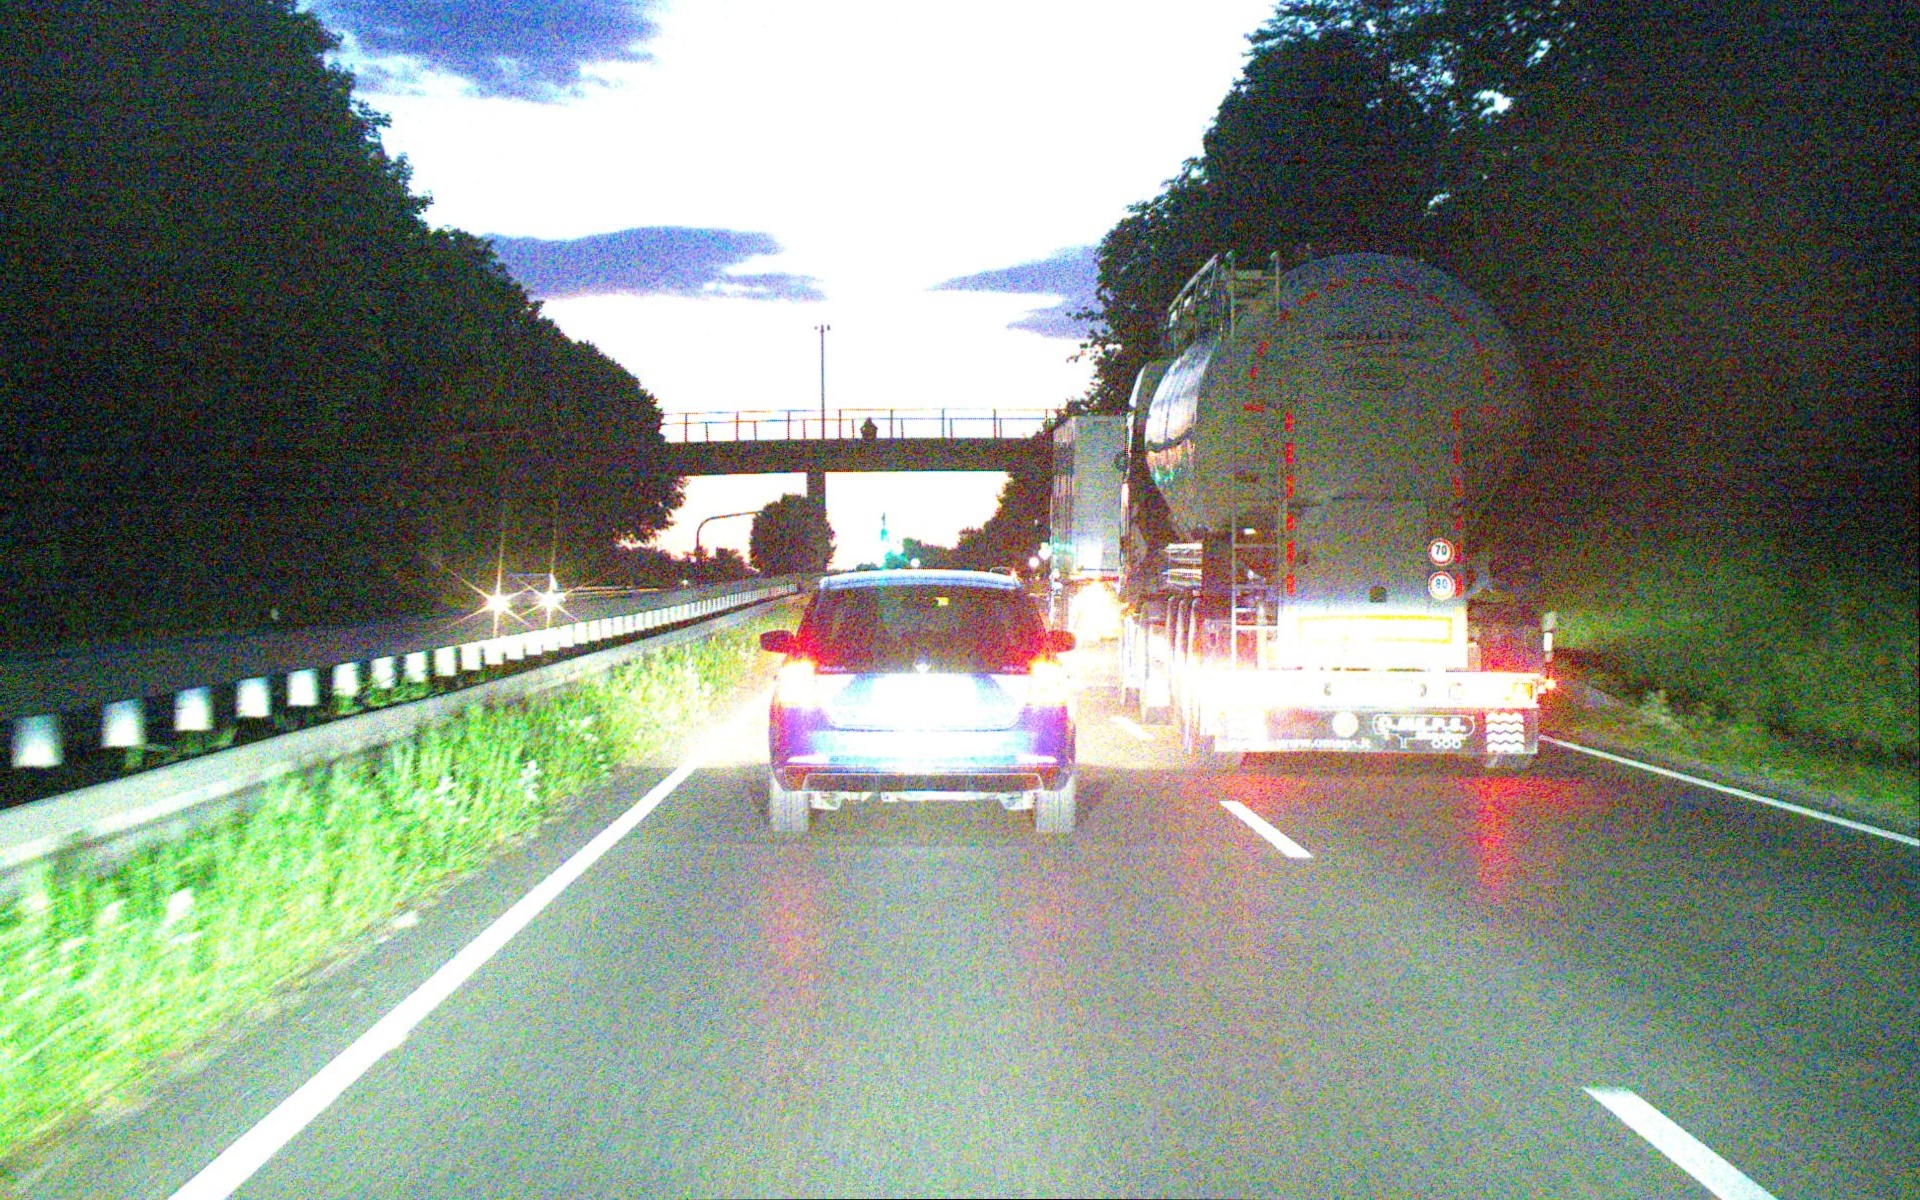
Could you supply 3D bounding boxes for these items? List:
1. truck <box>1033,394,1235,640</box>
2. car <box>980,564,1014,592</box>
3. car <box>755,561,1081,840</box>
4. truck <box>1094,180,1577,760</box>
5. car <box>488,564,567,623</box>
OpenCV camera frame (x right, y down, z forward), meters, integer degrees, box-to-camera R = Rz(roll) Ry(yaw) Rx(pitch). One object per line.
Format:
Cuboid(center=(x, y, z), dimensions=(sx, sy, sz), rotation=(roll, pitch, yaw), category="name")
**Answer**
Cuboid(center=(3.053, -1.431, 63.900), dimensions=(2.883, 4.092, 12.684), rotation=(1, 0, -1), category="truck")
Cuboid(center=(1.946, -1.178, 181.169), dimensions=(1.695, 1.447, 3.914), rotation=(1, 0, -1), category="car")
Cuboid(center=(-0.249, 0.517, 20.020), dimensions=(1.695, 1.447, 3.914), rotation=(1, 0, -1), category="car")
Cuboid(center=(2.924, -0.958, 30.996), dimensions=(2.687, 4.092, 13.142), rotation=(1, 0, -1), category="truck")
Cuboid(center=(-11.358, -0.169, 90.432), dimensions=(1.617, 1.502, 3.869), rotation=(1, 0, -1), category="car")
